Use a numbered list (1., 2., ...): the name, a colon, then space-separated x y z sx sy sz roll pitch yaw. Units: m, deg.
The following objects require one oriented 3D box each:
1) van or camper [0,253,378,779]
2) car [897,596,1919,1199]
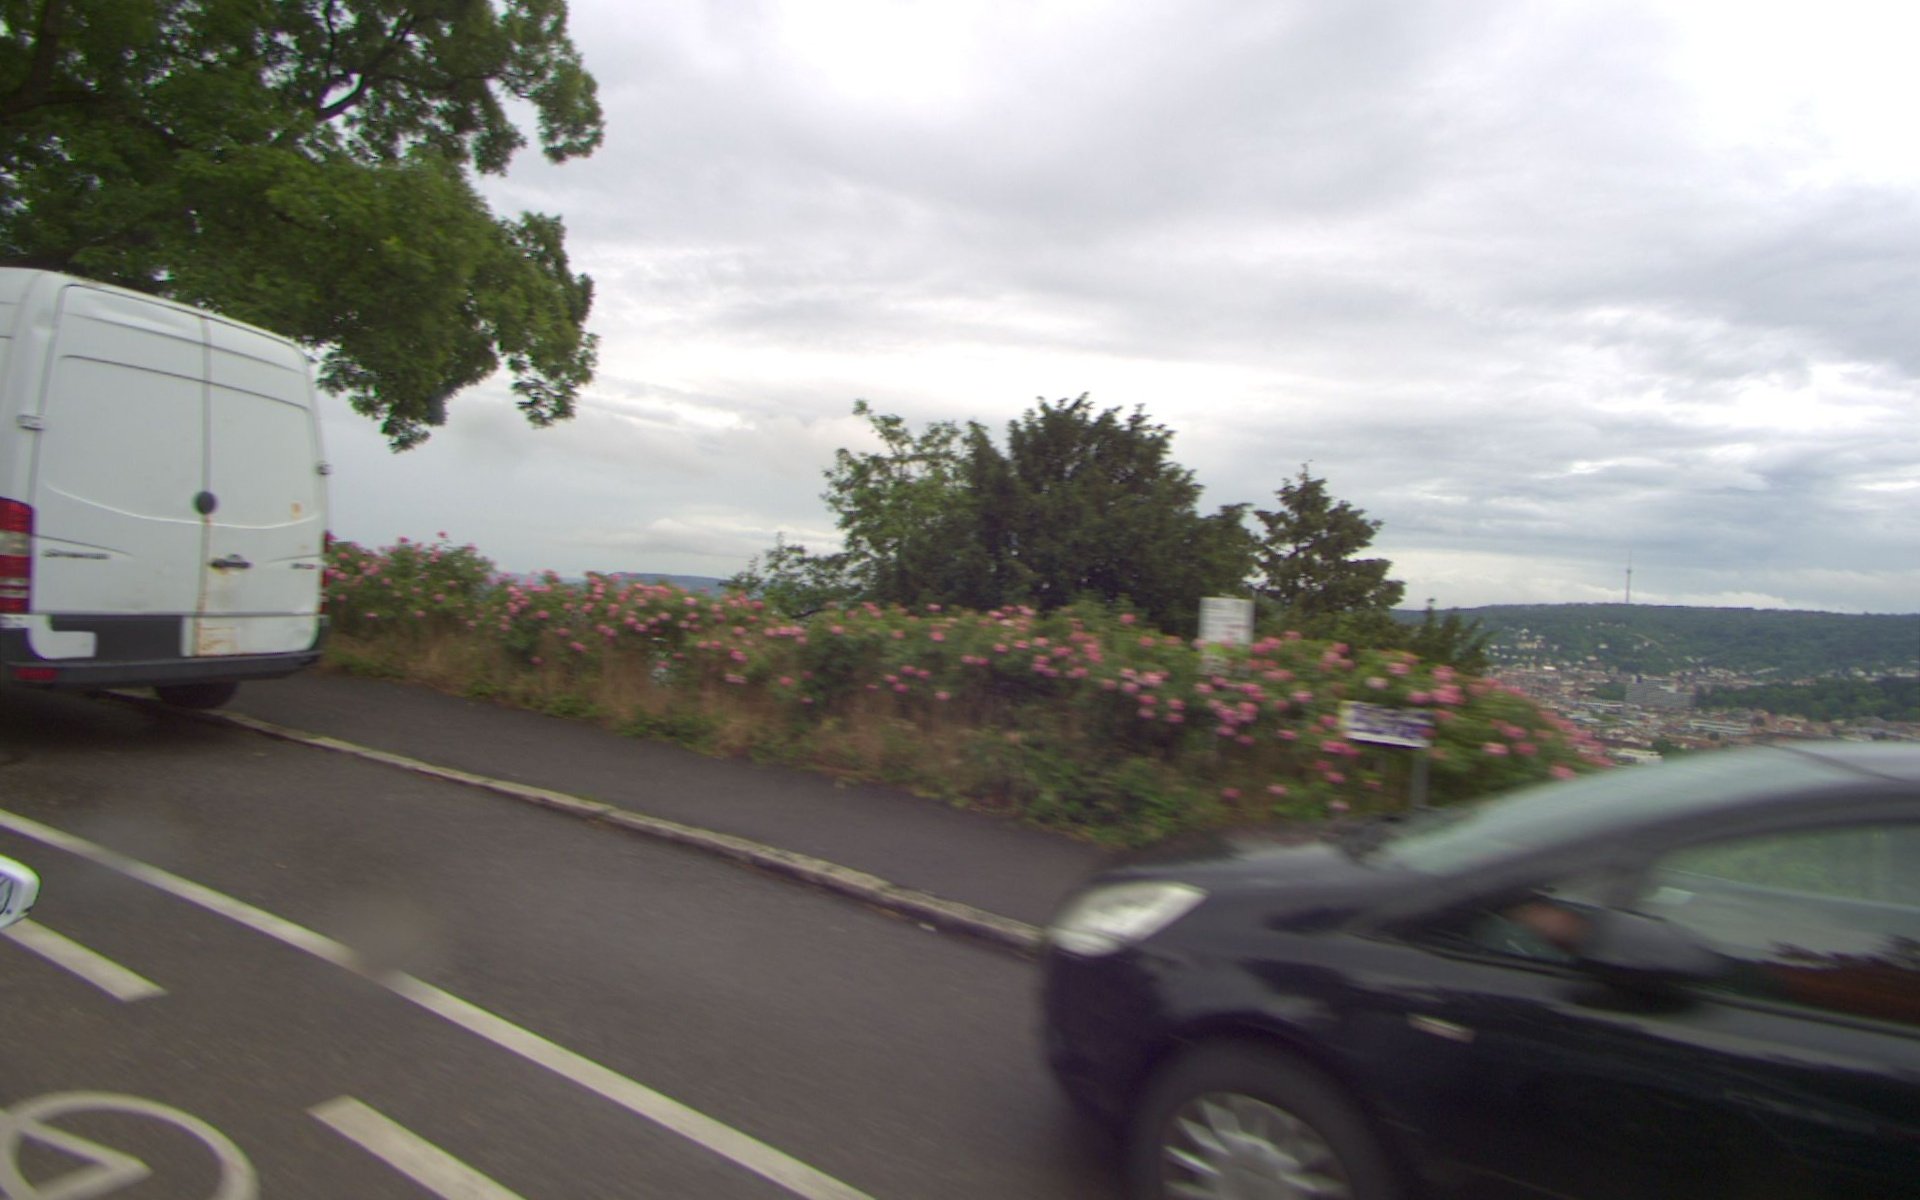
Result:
1. van or camper: -7.167 -0.746 6.798 5.776 2.615 2.072 8 2 17
2. car: 1.998 1.024 2.338 3.882 1.461 1.698 8 0 32
